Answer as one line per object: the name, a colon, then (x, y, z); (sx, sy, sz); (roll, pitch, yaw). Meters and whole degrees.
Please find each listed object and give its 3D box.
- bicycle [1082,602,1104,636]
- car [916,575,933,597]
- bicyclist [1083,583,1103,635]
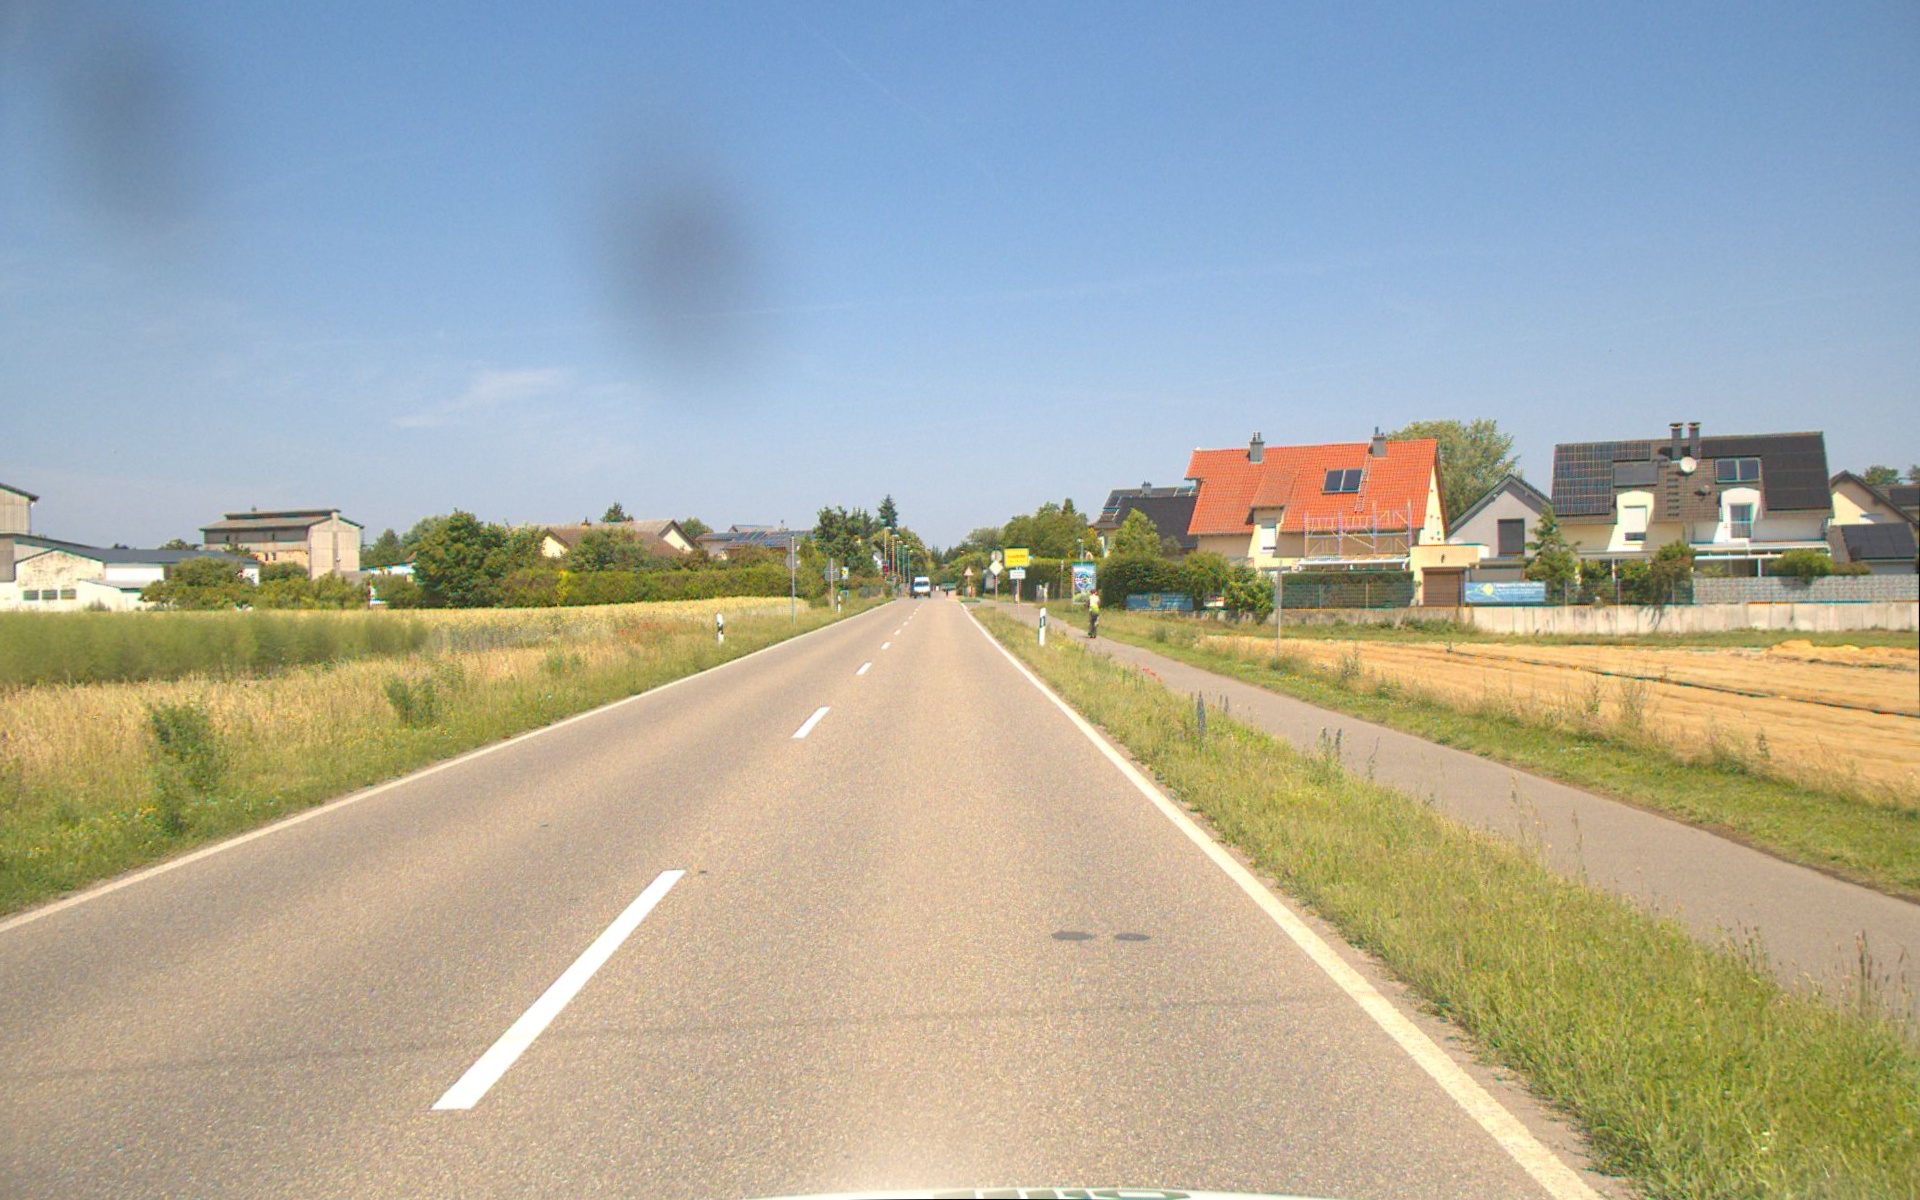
bicycle: (4.975, 0.701, 61.957); (0.598, 1.179, 2.274); (1, 1, -1)
car: (-4.317, -1.750, 200.963); (2.035, 2.586, 5.872); (-2, 1, -1)
bicyclist: (4.980, 0.335, 61.835); (0.632, 1.922, 0.861); (1, 1, -1)
